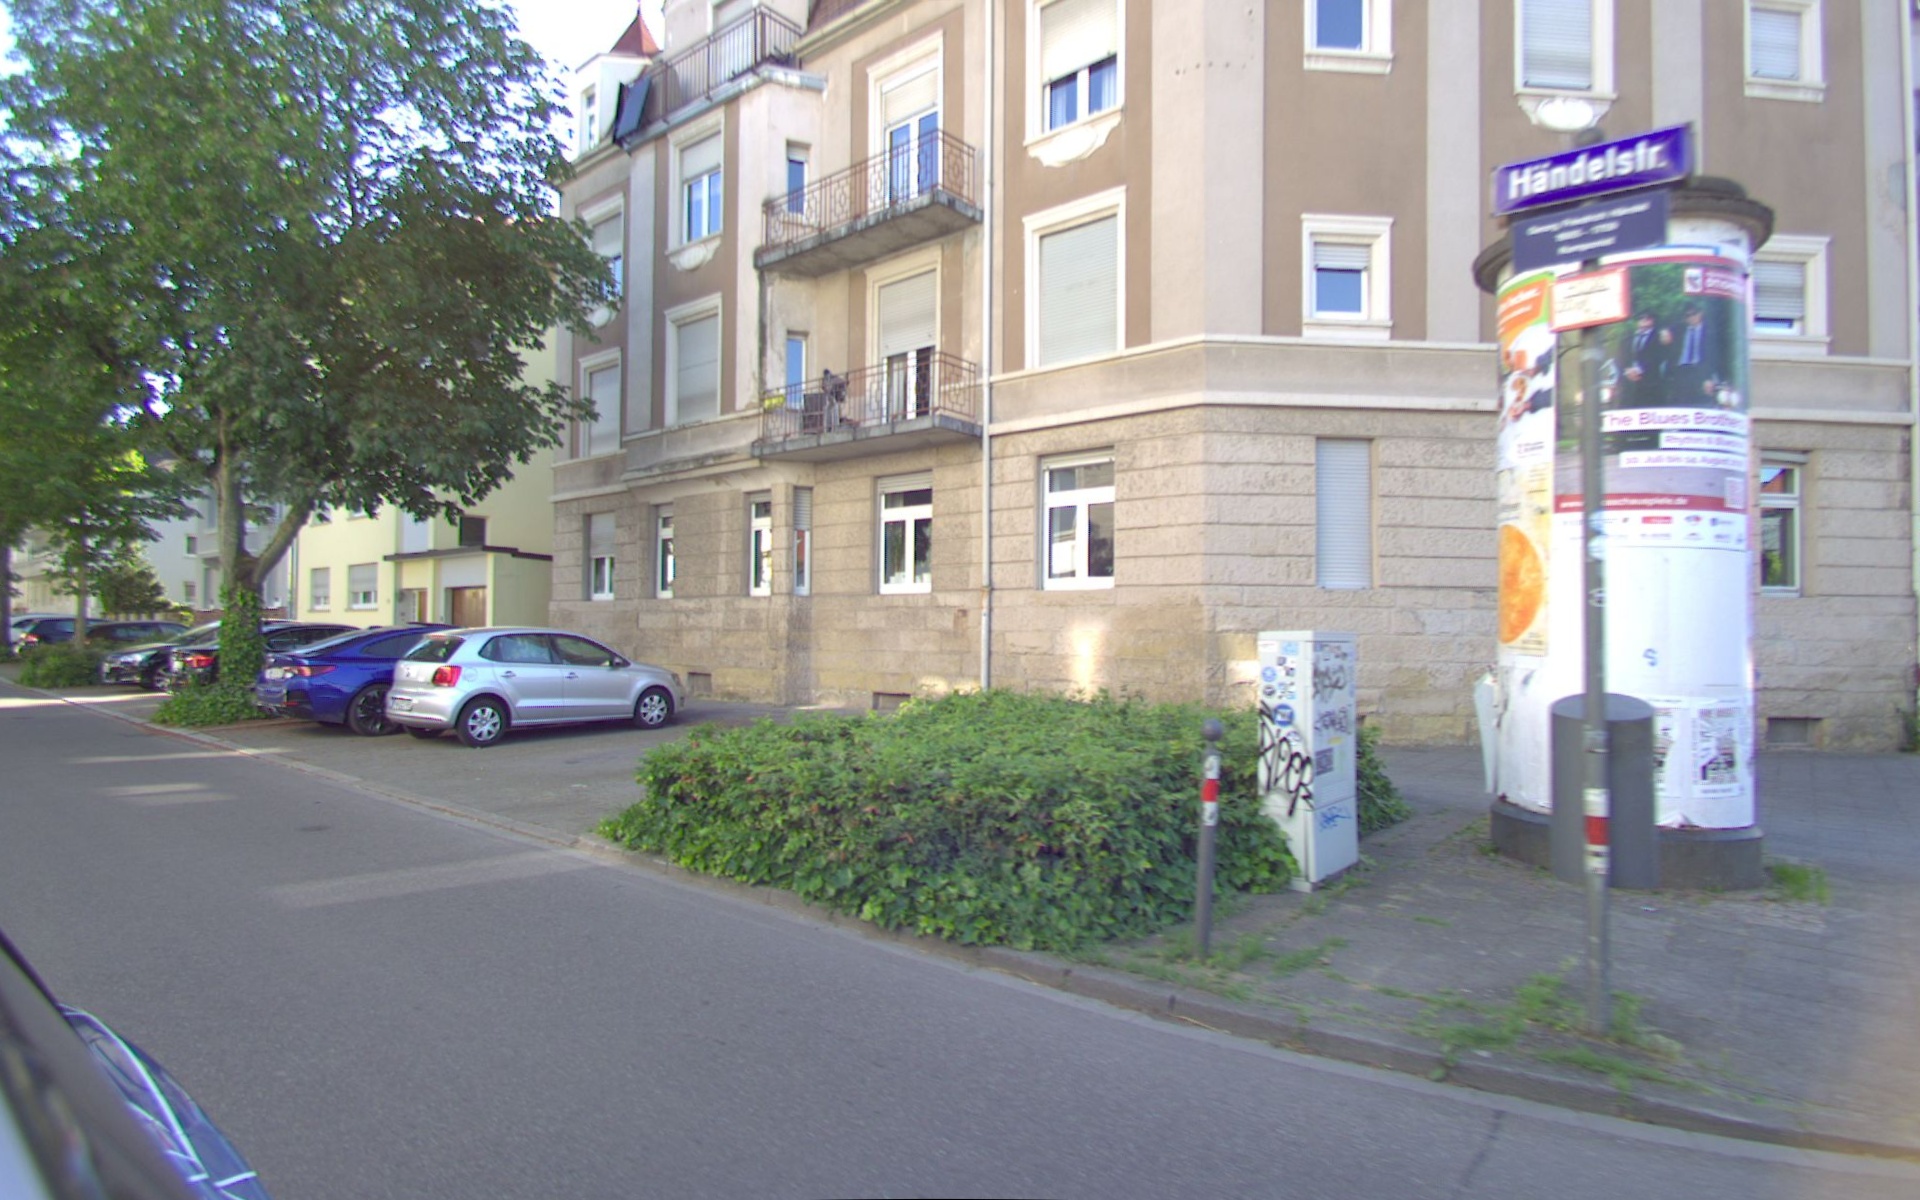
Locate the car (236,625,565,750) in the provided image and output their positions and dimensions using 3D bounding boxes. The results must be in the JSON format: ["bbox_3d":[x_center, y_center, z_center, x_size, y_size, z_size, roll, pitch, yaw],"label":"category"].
[{"bbox_3d":[-7.781,1.119,14.367,1.689,1.506,3.743,-1,-2,37],"label":"car"}]

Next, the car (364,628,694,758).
[{"bbox_3d":[-5.611,1.116,13.567,1.689,1.456,3.743,-1,-2,37],"label":"car"}]

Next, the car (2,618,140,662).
[{"bbox_3d":[-32.324,1.437,36.884,1.688,1.506,3.489,-1,-2,35],"label":"car"}]

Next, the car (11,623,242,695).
[{"bbox_3d":[-19.026,1.283,23.274,1.684,1.506,3.756,-1,-2,27],"label":"car"}]

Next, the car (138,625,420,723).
[{"bbox_3d":[-11.735,1.188,17.707,1.684,1.506,3.756,-1,-2,27],"label":"car"}]

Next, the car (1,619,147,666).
[{"bbox_3d":[-30.484,1.432,34.890,1.688,1.506,3.489,-1,-2,35],"label":"car"}]

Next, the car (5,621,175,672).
[{"bbox_3d":[-27.153,1.415,31.697,1.688,1.506,3.746,-1,-2,35],"label":"car"}]

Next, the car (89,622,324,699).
[{"bbox_3d":[-16.227,1.246,21.996,1.684,1.506,3.756,-1,-2,27],"label":"car"}]
